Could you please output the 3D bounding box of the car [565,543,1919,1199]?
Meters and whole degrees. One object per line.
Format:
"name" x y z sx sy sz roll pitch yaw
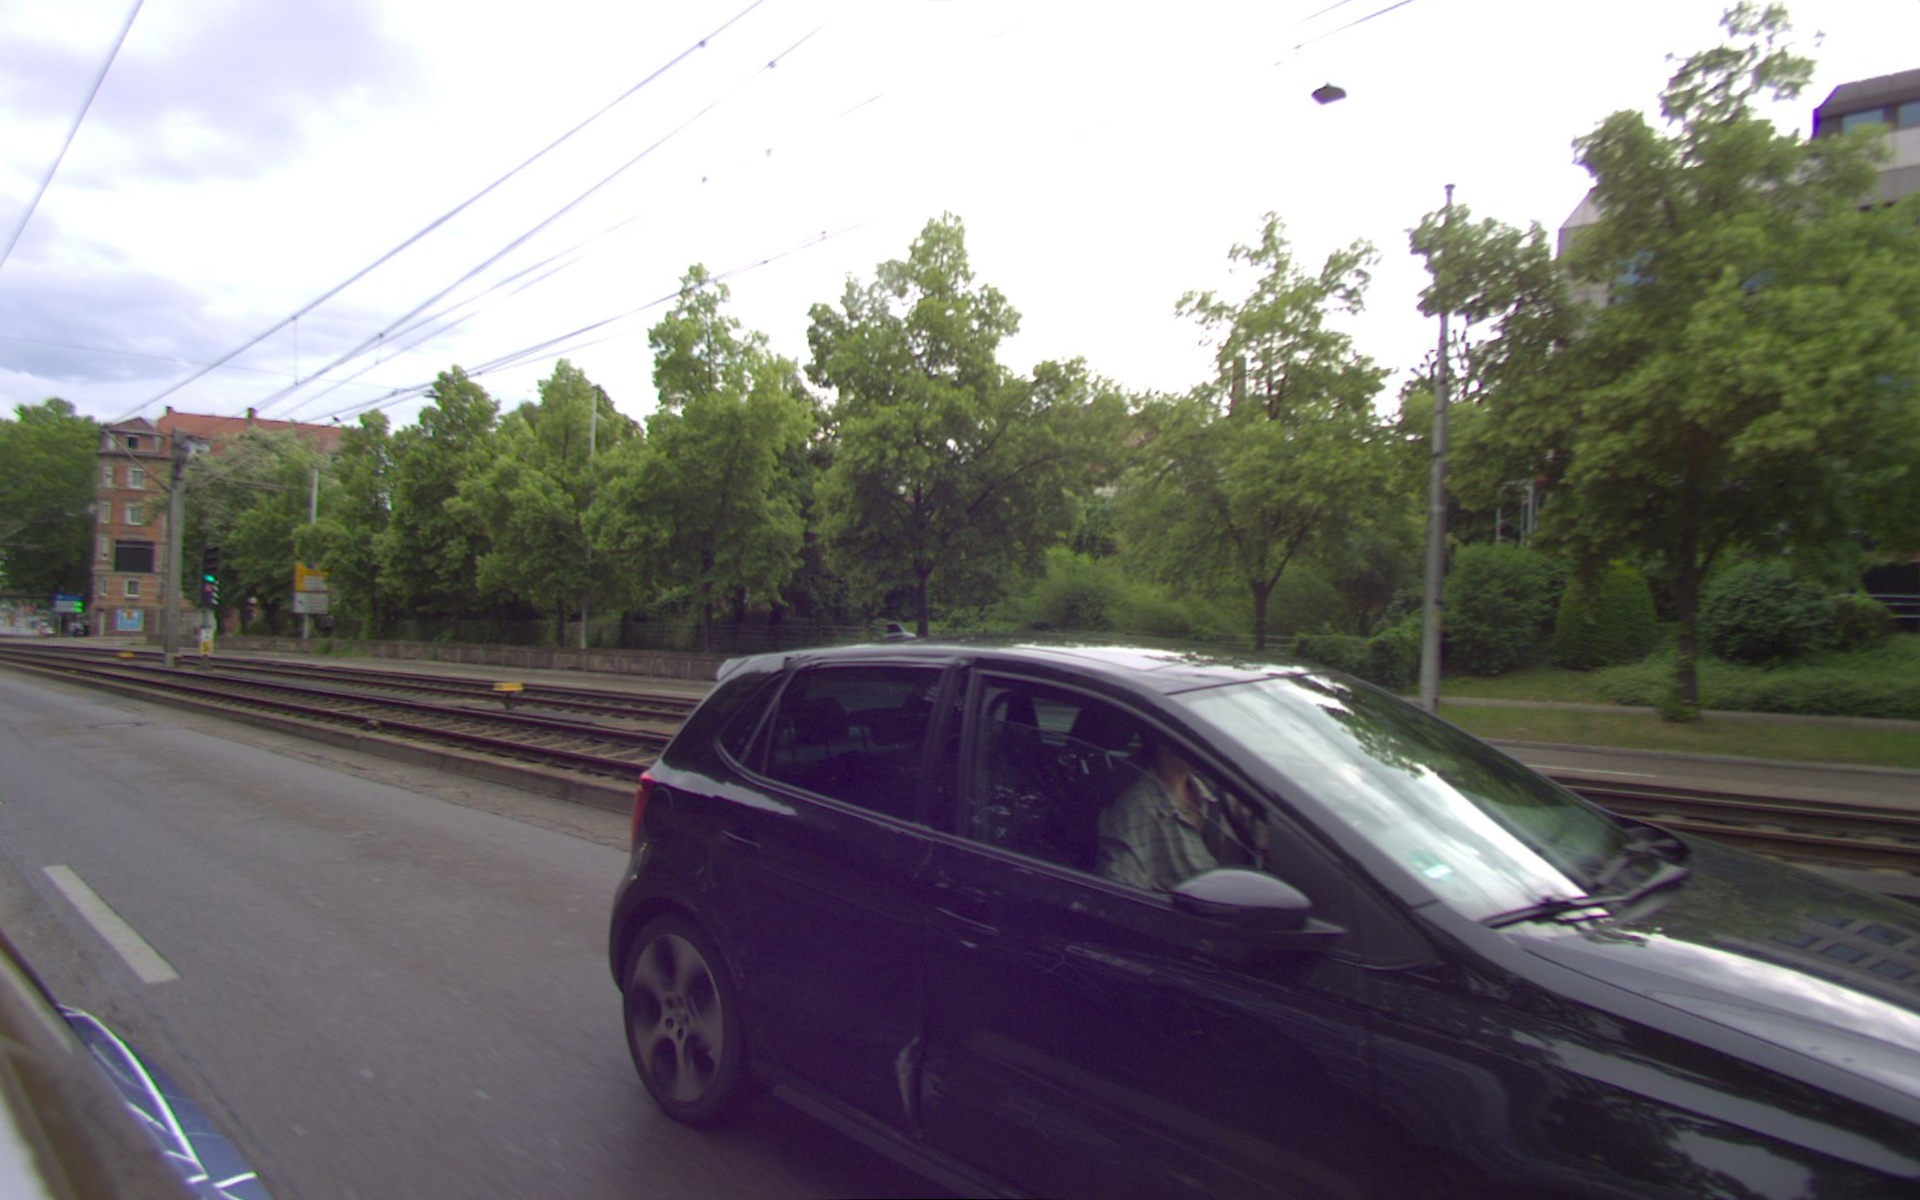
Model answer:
"car" 0.854 0.743 2.594 3.961 1.497 1.776 -2 -4 40

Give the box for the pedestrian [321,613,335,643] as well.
"pedestrian" -41.108 1.816 65.831 0.653 1.917 0.590 -1 -2 37
